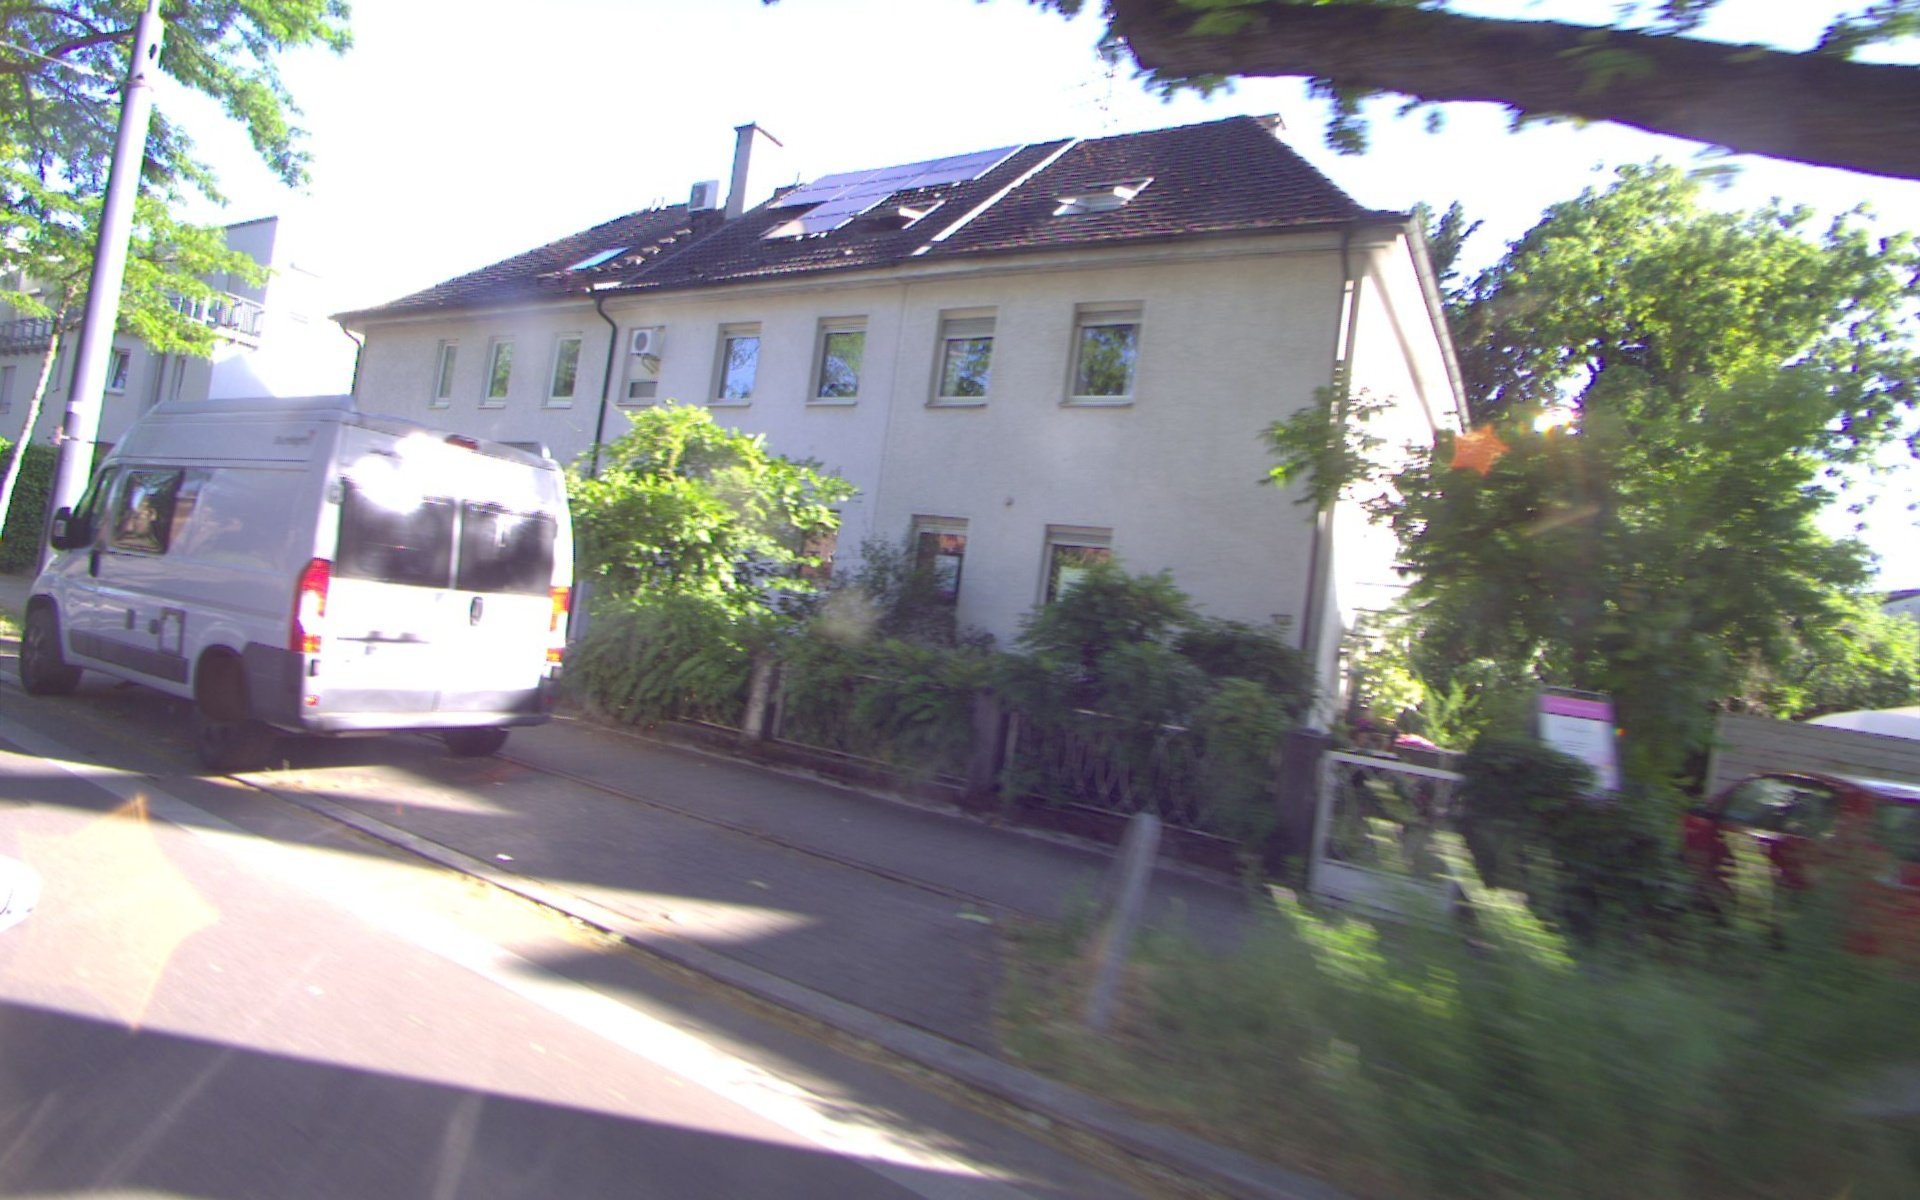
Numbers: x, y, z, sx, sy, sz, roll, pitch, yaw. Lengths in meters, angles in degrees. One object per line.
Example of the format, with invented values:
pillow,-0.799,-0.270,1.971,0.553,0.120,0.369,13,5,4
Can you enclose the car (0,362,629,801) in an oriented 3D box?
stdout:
car,-5.707,-0.283,8.513,5.492,2.686,2.249,7,-1,31

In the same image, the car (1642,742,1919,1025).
car,6.890,2.065,7.746,1.702,1.452,3.411,7,-1,19
